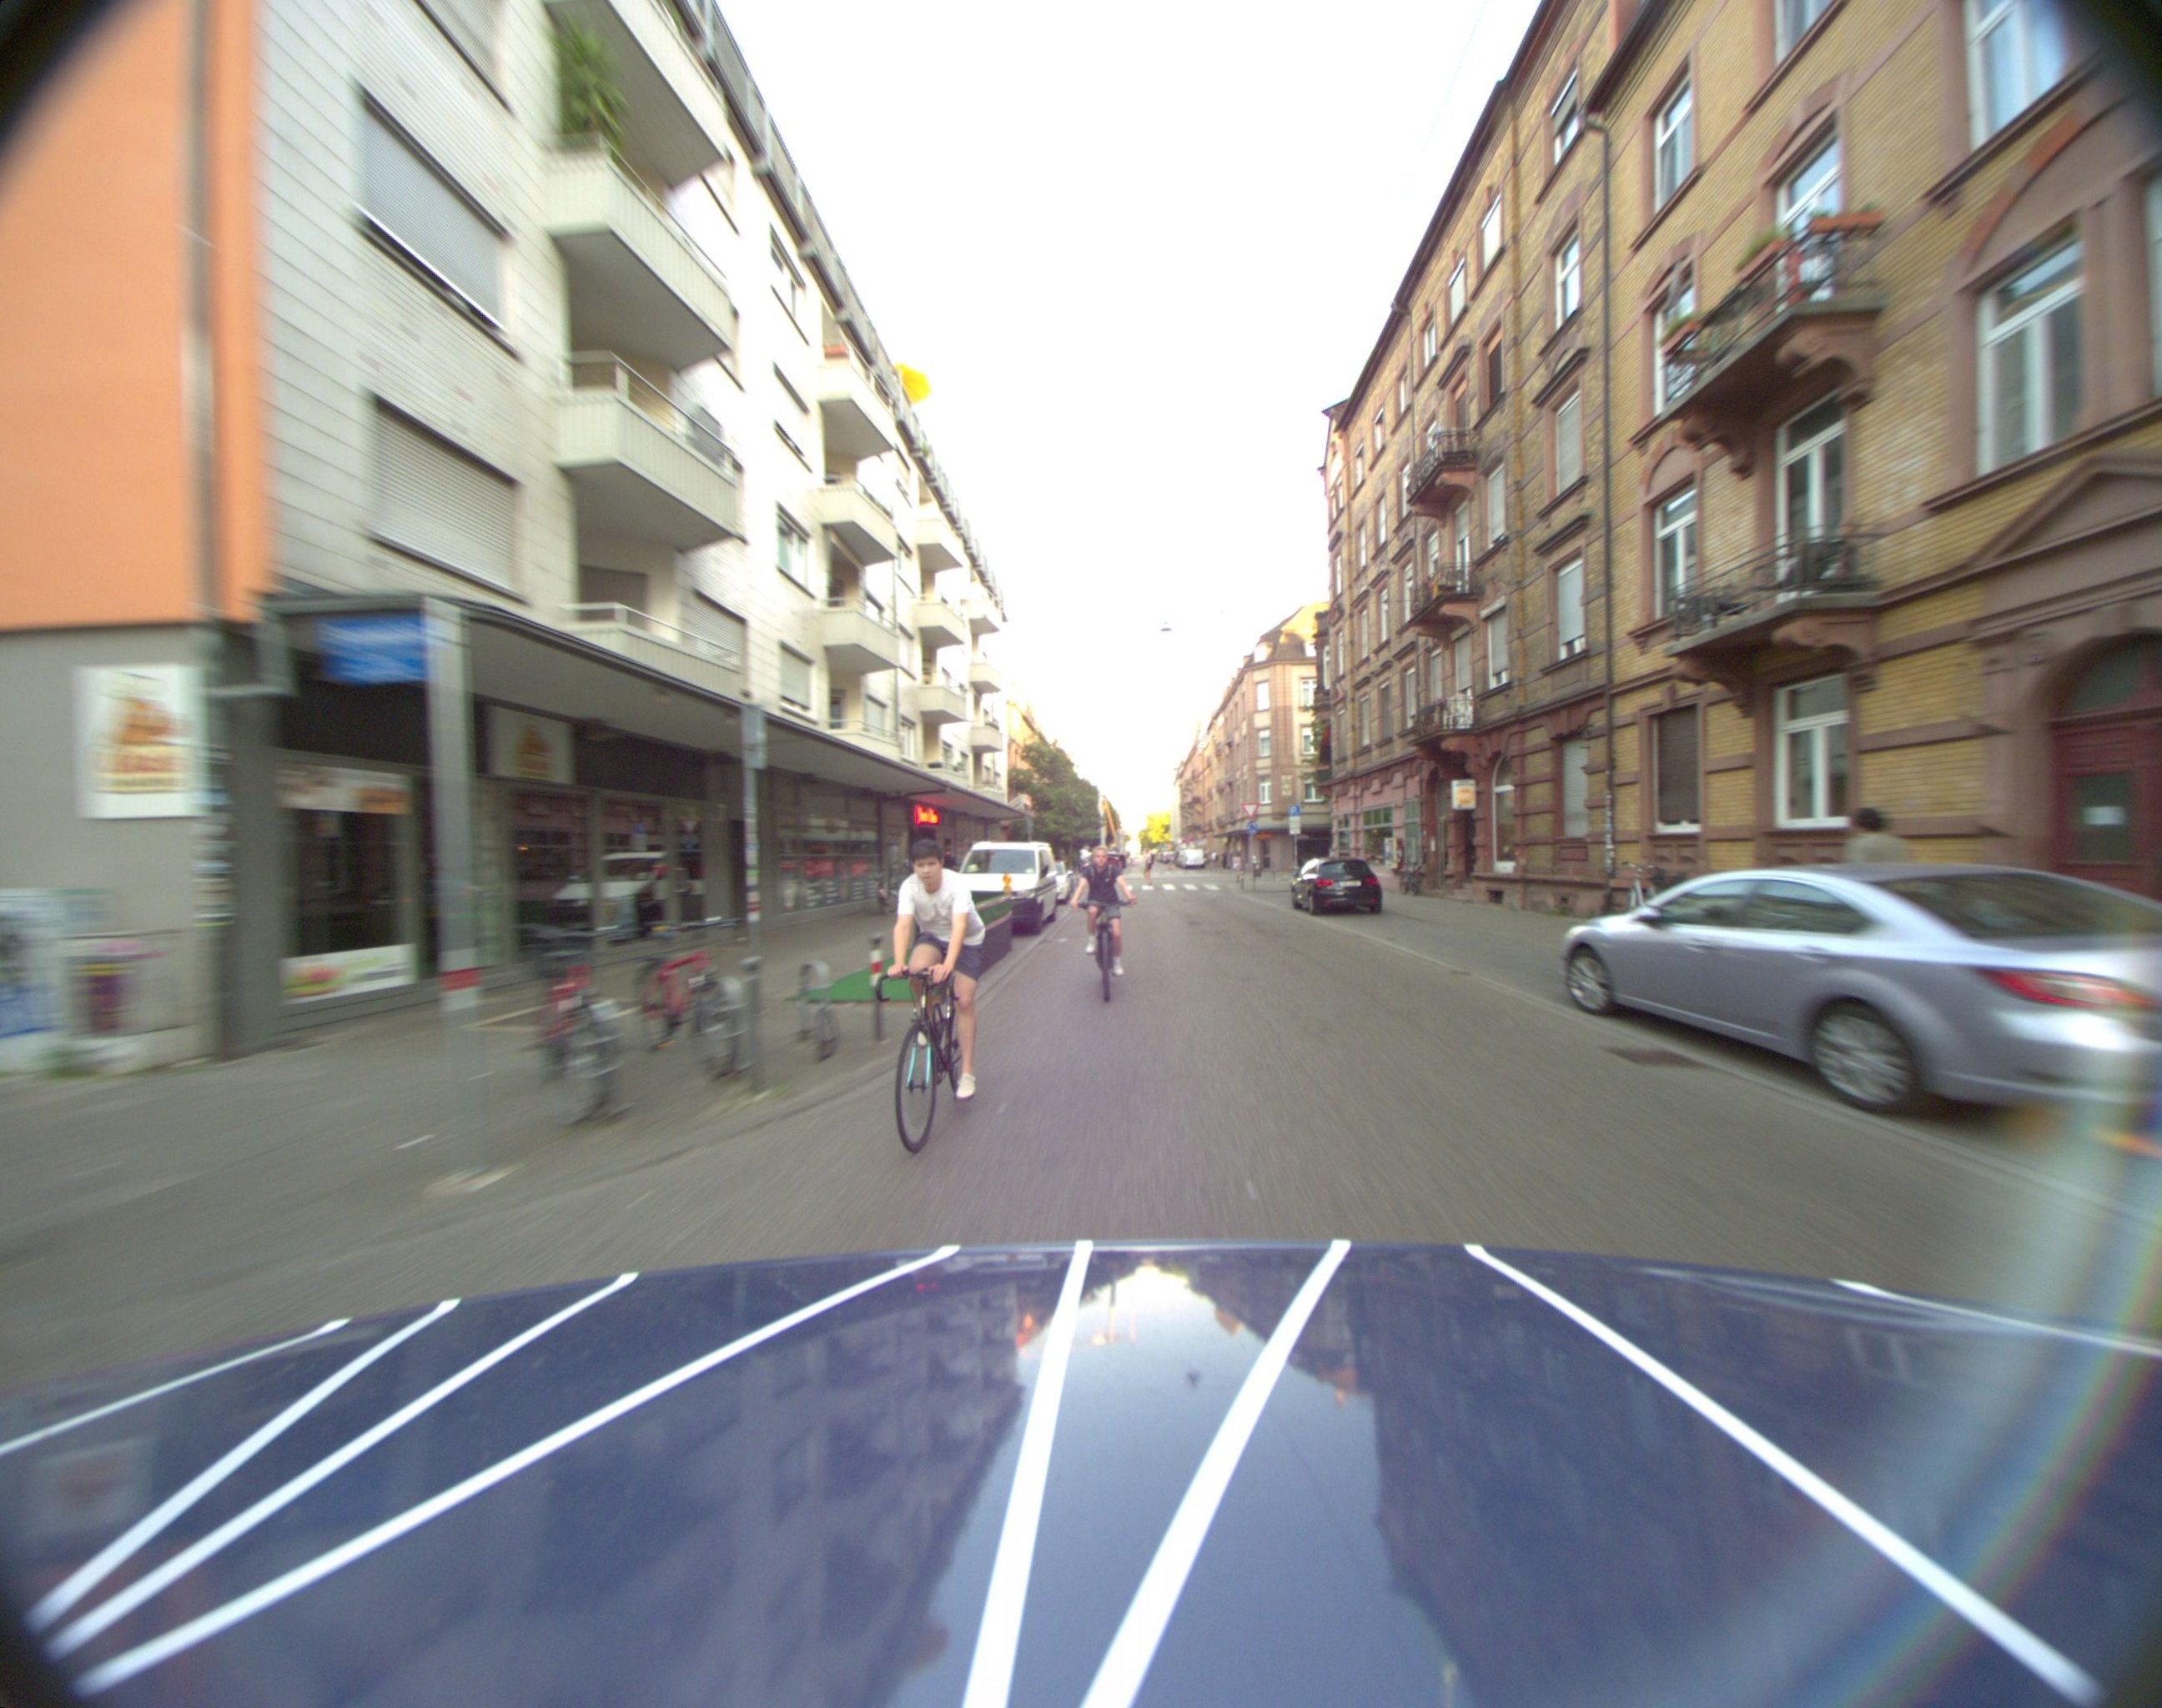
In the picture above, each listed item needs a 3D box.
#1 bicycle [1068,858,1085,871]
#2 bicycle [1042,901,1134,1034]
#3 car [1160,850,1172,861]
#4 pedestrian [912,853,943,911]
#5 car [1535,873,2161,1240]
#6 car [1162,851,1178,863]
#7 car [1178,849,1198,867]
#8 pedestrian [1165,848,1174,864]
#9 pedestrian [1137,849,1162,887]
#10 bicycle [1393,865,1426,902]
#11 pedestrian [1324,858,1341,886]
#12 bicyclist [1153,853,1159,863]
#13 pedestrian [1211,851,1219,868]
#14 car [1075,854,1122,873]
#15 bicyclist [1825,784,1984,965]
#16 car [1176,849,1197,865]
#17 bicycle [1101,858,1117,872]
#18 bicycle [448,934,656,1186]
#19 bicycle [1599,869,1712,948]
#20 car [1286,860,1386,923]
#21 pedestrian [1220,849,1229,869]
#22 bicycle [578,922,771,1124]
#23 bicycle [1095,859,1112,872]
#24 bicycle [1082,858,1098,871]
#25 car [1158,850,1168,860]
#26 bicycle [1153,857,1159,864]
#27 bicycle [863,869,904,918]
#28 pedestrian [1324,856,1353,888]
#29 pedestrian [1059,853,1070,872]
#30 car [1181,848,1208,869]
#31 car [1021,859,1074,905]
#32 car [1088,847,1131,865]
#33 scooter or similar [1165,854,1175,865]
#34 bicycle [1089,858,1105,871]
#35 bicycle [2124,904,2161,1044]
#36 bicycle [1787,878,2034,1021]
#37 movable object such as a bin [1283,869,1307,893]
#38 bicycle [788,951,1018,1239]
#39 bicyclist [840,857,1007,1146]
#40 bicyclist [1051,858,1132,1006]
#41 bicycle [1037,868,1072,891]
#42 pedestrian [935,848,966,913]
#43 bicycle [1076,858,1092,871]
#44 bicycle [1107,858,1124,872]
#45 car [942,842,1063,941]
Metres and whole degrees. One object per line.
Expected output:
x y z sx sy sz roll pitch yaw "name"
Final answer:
-0.414 0.914 67.595 0.666 1.158 2.111 1 0 -24 "bicycle"
0.148 1.171 8.515 0.793 1.133 2.344 -2 0 6 "bicycle"
15.317 0.224 137.183 1.997 1.729 4.001 -2 1 7 "car"
-4.436 0.796 21.999 0.710 1.656 0.744 0 2 3 "pedestrian"
5.464 0.954 5.589 1.726 1.412 4.583 -2 0 4 "car"
13.698 0.455 117.011 2.140 1.811 4.541 -2 0 4 "car"
11.704 0.428 83.351 1.878 1.892 4.327 -2 0 5 "car"
9.219 0.176 78.813 0.809 1.650 0.672 0 0 -3 "pedestrian"
3.396 0.710 37.783 1.047 1.800 0.757 -2 -2 15 "pedestrian"
10.339 0.910 23.982 0.426 1.047 1.899 -2 0 7 "bicycle"
10.614 0.770 32.037 0.504 1.137 0.791 -2 2 5 "pedestrian"
12.229 0.657 123.776 0.754 1.630 1.201 -1 0 -2 "bicyclist"
13.715 0.565 77.894 0.748 1.733 1.213 -2 1 8 "pedestrian"
1.640 0.872 71.537 4.005 1.658 1.824 -2 2 -27 "car"
8.288 0.190 7.692 0.709 1.720 0.843 -2 2 5 "bicyclist"
12.292 0.320 89.063 2.140 1.811 4.542 -2 0 5 "car"
2.540 0.992 69.173 0.666 1.162 2.111 1 0 -24 "bicycle"
-3.501 1.196 4.954 1.939 1.128 0.658 2 2 41 "bicycle"
9.656 0.878 12.868 0.528 1.164 2.049 -3 0 7 "bicycle"
6.553 0.902 19.937 1.697 1.412 3.856 -2 0 7 "car"
13.058 0.481 69.208 0.654 1.768 0.693 -2 0 22 "pedestrian"
-3.179 1.184 5.849 1.939 1.128 0.658 2 2 41 "bicycle"
2.023 0.995 68.738 0.666 1.125 2.111 1 0 -24 "bicycle"
0.810 0.956 68.114 0.666 1.125 2.111 1 0 -24 "bicycle"
16.520 0.223 152.237 1.867 1.729 3.801 -2 1 7 "car"
12.243 1.075 123.776 0.754 1.124 1.976 -1 0 -2 "bicycle"
-5.293 1.037 20.429 0.913 1.189 1.709 1 1 -10 "bicycle"
10.515 0.728 31.034 0.650 1.247 0.907 -4 0 -11 "pedestrian"
-1.324 0.707 62.137 0.537 1.597 0.870 0 -1 30 "pedestrian"
11.490 0.429 77.215 2.141 1.947 4.770 -2 0 3 "car"
-1.129 0.942 27.024 1.596 1.492 3.423 1 0 2 "car"
3.739 0.265 100.116 5.151 2.182 2.334 -2 2 -21 "car"
9.222 0.592 78.818 0.809 1.097 1.172 0 0 -3 "scooter or similar"
1.428 0.980 68.432 0.666 1.125 2.111 1 0 -24 "bicycle"
8.977 0.973 5.465 0.550 1.117 1.760 -4 0 4 "bicycle"
8.306 0.893 7.744 0.709 1.189 1.742 -2 1 5 "bicycle"
8.761 1.084 31.063 0.763 0.910 0.729 -2 2 1 "movable object such as a bin"
-0.887 1.216 4.396 0.657 1.012 1.918 -2 1 6 "bicycle"
-0.881 0.791 4.497 0.650 1.500 0.953 -2 2 6 "bicyclist"
0.139 0.840 8.545 0.793 1.562 0.827 -2 0 5 "bicyclist"
-1.158 1.123 33.541 1.481 0.996 0.511 1 2 10 "bicycle"
-3.718 0.738 21.677 0.710 1.818 0.860 0 2 3 "pedestrian"
0.268 0.936 67.862 0.666 1.158 2.111 1 0 -24 "bicycle"
3.097 0.999 69.009 0.666 1.162 2.111 1 0 -24 "bicycle"
-1.651 0.757 17.870 1.963 1.962 5.004 1 0 4 "car"
